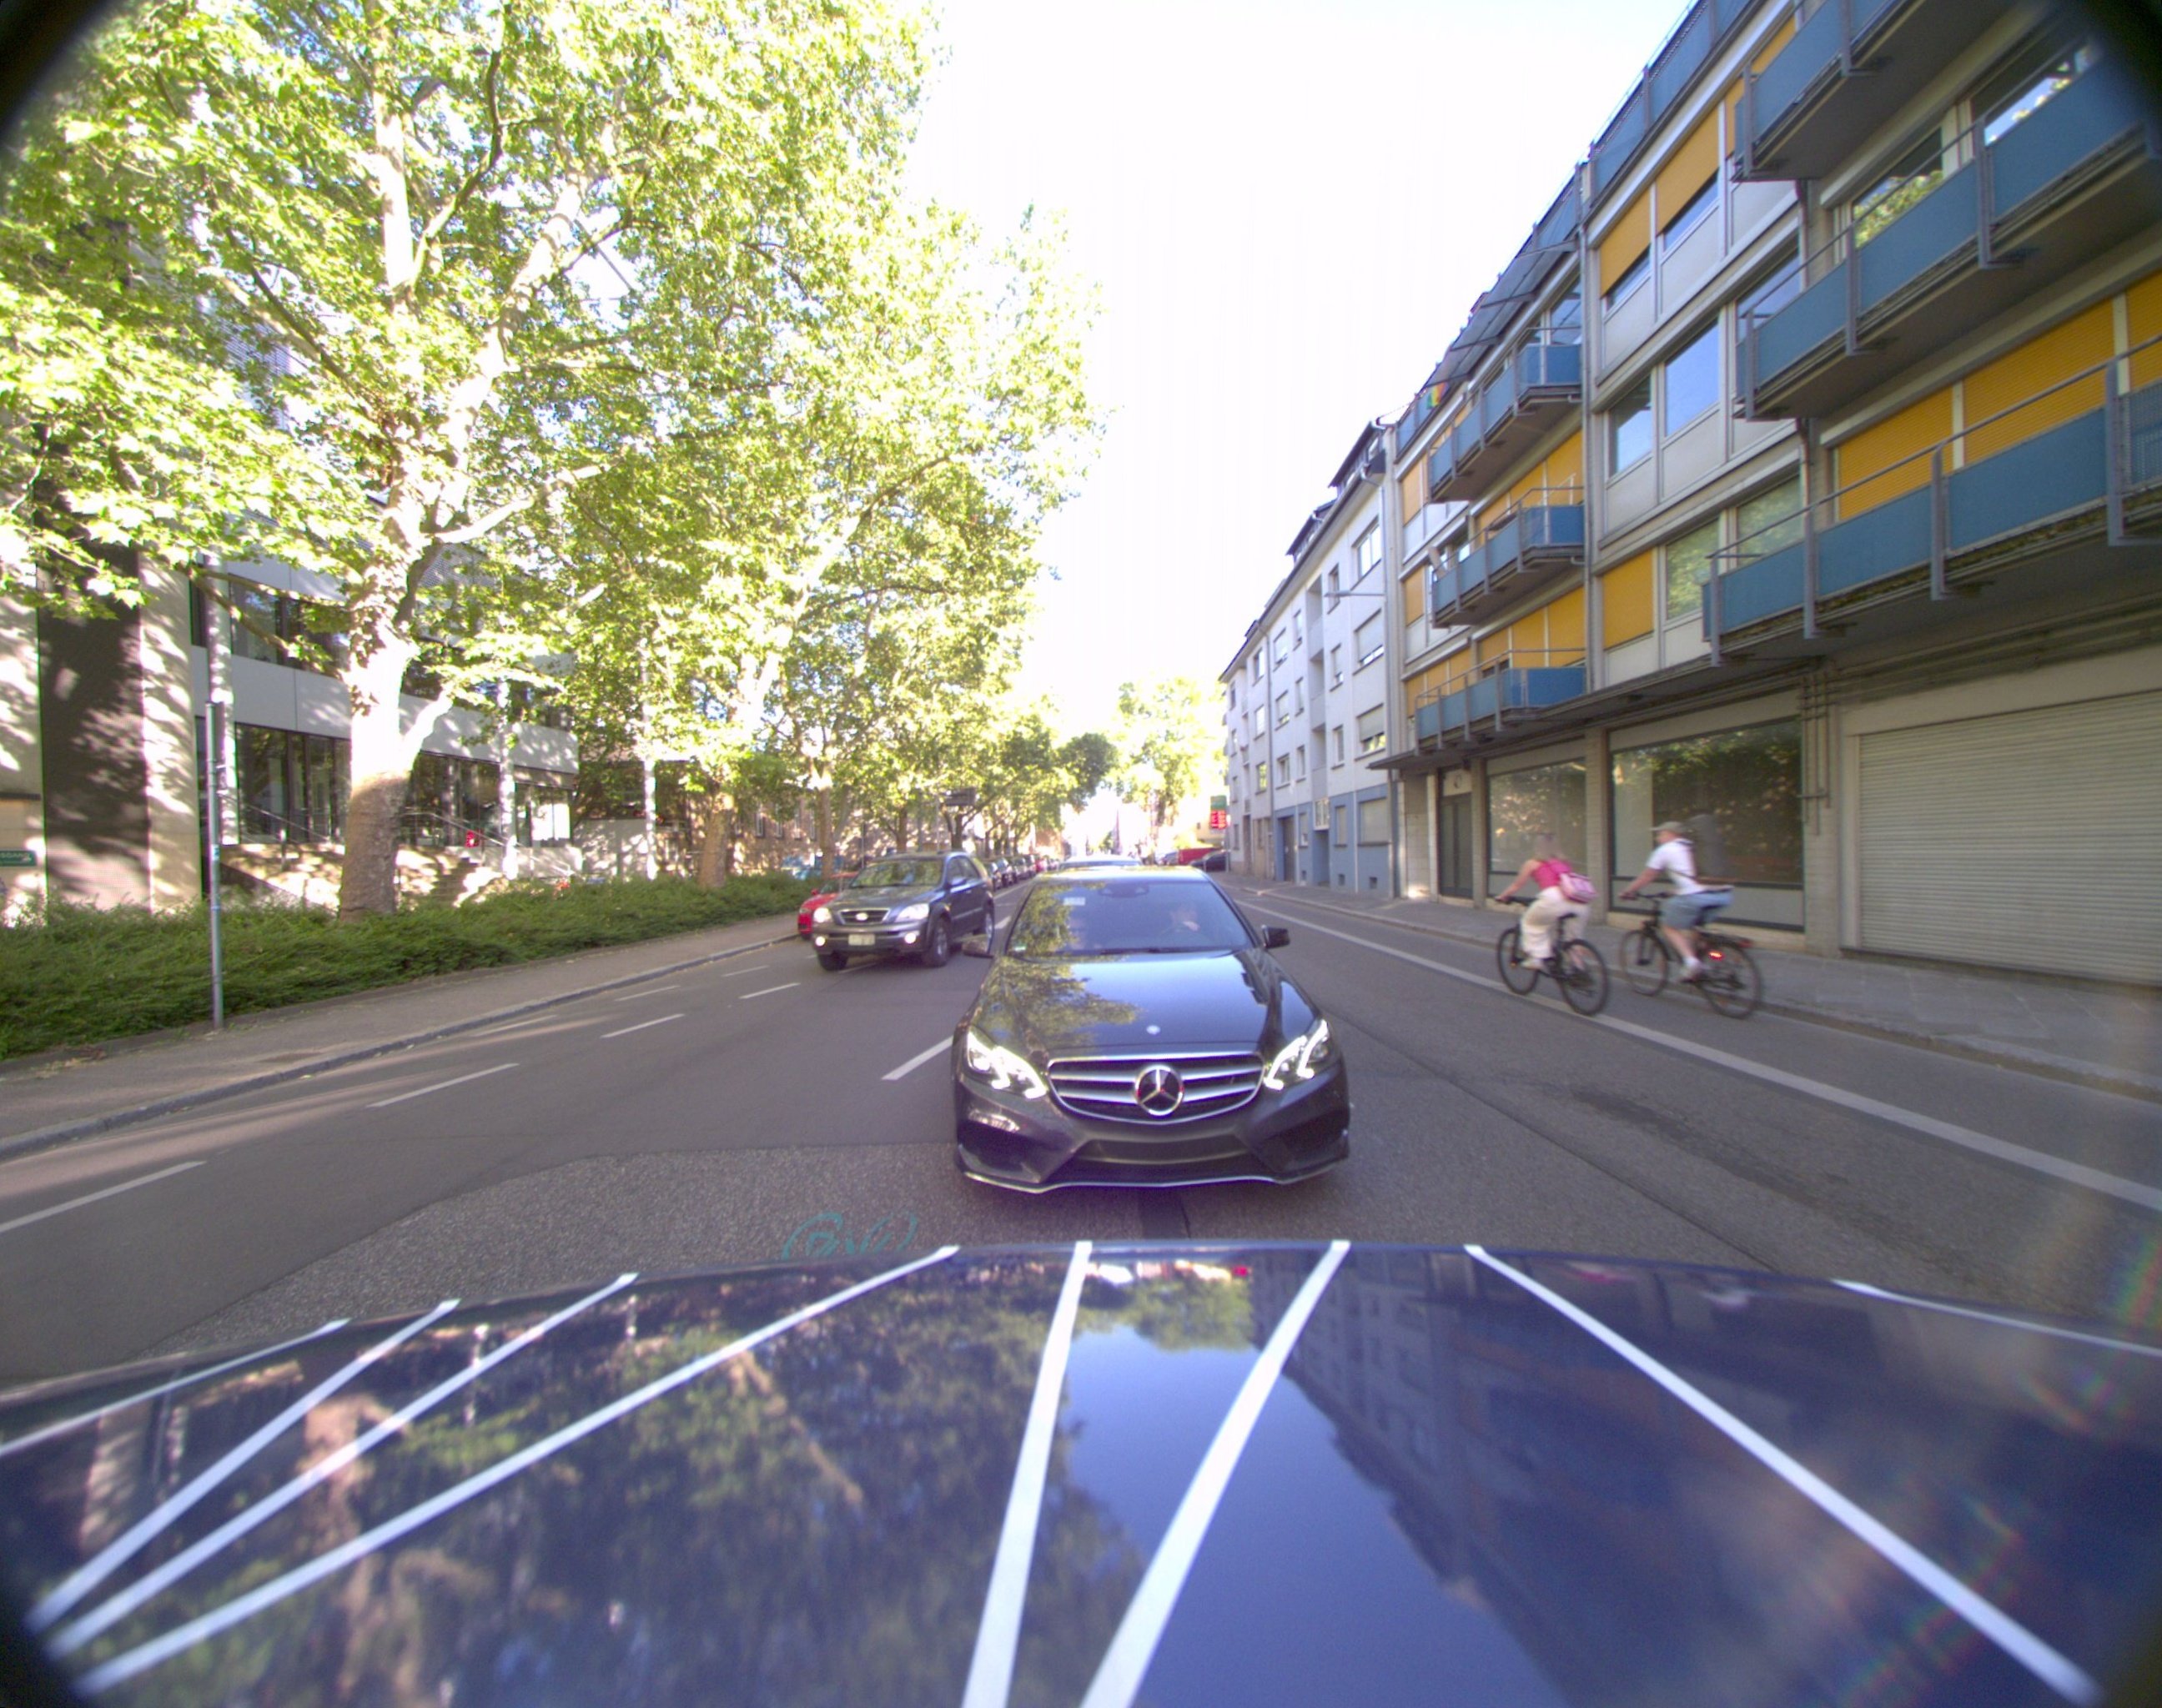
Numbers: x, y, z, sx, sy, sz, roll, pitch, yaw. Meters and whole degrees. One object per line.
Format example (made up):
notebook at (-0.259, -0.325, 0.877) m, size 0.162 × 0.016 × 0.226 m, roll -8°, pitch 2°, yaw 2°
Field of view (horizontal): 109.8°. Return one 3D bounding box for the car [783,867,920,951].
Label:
car at (-5.147, 1.169, 17.662) m, size 1.830 × 1.519 × 4.142 m, roll -4°, pitch 0°, yaw 0°

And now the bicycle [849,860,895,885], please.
bicycle at (-9.186, 0.820, 33.427) m, size 1.799 × 1.009 × 0.734 m, roll -2°, pitch 1°, yaw -5°

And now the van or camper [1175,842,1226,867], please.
van or camper at (10.061, 0.023, 64.194) m, size 3.997 × 2.002 × 2.000 m, roll -2°, pitch 1°, yaw 0°

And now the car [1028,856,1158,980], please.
car at (0.194, 0.864, 12.485) m, size 1.646 × 1.520 × 4.619 m, roll -4°, pitch 0°, yaw 1°

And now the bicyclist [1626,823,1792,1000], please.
bicyclist at (5.855, 0.508, 7.141) m, size 0.844 × 1.546 × 0.839 m, roll -2°, pitch 1°, yaw 0°

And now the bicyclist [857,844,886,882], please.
bicyclist at (-9.202, 0.378, 33.416) m, size 1.037 × 1.610 × 0.697 m, roll -2°, pitch 1°, yaw -4°

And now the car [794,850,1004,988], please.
car at (-2.698, 0.880, 12.484) m, size 1.784 × 1.760 × 4.386 m, roll -3°, pitch 0°, yaw 8°

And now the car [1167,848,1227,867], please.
car at (10.163, 0.284, 66.697) m, size 4.990 × 1.486 × 2.000 m, roll -2°, pitch 0°, yaw 1°

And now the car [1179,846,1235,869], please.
car at (10.140, 0.268, 61.288) m, size 4.146 × 1.681 × 2.000 m, roll -2°, pitch 0°, yaw 1°

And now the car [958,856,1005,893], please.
car at (-4.826, 0.955, 37.468) m, size 1.741 × 1.622 × 4.091 m, roll -2°, pitch 0°, yaw 0°

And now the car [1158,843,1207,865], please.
car at (11.041, -0.009, 82.818) m, size 4.990 × 2.181 × 2.000 m, roll -2°, pitch 1°, yaw 1°

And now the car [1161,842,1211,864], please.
car at (11.037, -0.102, 80.186) m, size 4.990 × 2.181 × 2.000 m, roll -2°, pitch 1°, yaw 1°

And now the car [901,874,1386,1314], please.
car at (0.226, 0.933, 4.715) m, size 1.740 × 1.448 × 3.864 m, roll -2°, pitch 0°, yaw 0°

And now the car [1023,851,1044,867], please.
car at (-4.381, 0.437, 70.441) m, size 1.741 × 1.469 × 4.091 m, roll -2°, pitch 0°, yaw 0°

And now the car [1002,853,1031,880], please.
car at (-4.610, 0.867, 54.775) m, size 1.741 × 1.785 × 3.895 m, roll -2°, pitch 0°, yaw 0°

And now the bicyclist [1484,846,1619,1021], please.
bicyclist at (4.503, 0.717, 7.345) m, size 0.686 × 1.569 × 0.982 m, roll -2°, pitch 1°, yaw 1°

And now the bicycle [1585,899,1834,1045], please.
bicycle at (5.874, 1.045, 7.282) m, size 0.865 × 1.072 × 1.836 m, roll -2°, pitch 0°, yaw 1°

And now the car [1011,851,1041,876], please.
car at (-4.276, 0.721, 59.845) m, size 1.992 × 1.795 × 4.376 m, roll -2°, pitch 0°, yaw 0°

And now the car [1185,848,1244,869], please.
car at (10.317, 0.323, 58.957) m, size 4.146 × 1.486 × 2.000 m, roll -2°, pitch 0°, yaw 1°

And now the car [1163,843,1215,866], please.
car at (10.917, 0.025, 77.335) m, size 4.990 × 2.181 × 2.000 m, roll -2°, pitch 1°, yaw 1°

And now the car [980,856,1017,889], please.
car at (-4.541, 0.966, 42.342) m, size 1.634 × 1.677 × 3.907 m, roll -2°, pitch 0°, yaw 0°

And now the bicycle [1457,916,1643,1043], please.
bicycle at (4.511, 1.162, 7.486) m, size 0.695 × 0.924 × 1.863 m, roll -2°, pitch 0°, yaw 1°
